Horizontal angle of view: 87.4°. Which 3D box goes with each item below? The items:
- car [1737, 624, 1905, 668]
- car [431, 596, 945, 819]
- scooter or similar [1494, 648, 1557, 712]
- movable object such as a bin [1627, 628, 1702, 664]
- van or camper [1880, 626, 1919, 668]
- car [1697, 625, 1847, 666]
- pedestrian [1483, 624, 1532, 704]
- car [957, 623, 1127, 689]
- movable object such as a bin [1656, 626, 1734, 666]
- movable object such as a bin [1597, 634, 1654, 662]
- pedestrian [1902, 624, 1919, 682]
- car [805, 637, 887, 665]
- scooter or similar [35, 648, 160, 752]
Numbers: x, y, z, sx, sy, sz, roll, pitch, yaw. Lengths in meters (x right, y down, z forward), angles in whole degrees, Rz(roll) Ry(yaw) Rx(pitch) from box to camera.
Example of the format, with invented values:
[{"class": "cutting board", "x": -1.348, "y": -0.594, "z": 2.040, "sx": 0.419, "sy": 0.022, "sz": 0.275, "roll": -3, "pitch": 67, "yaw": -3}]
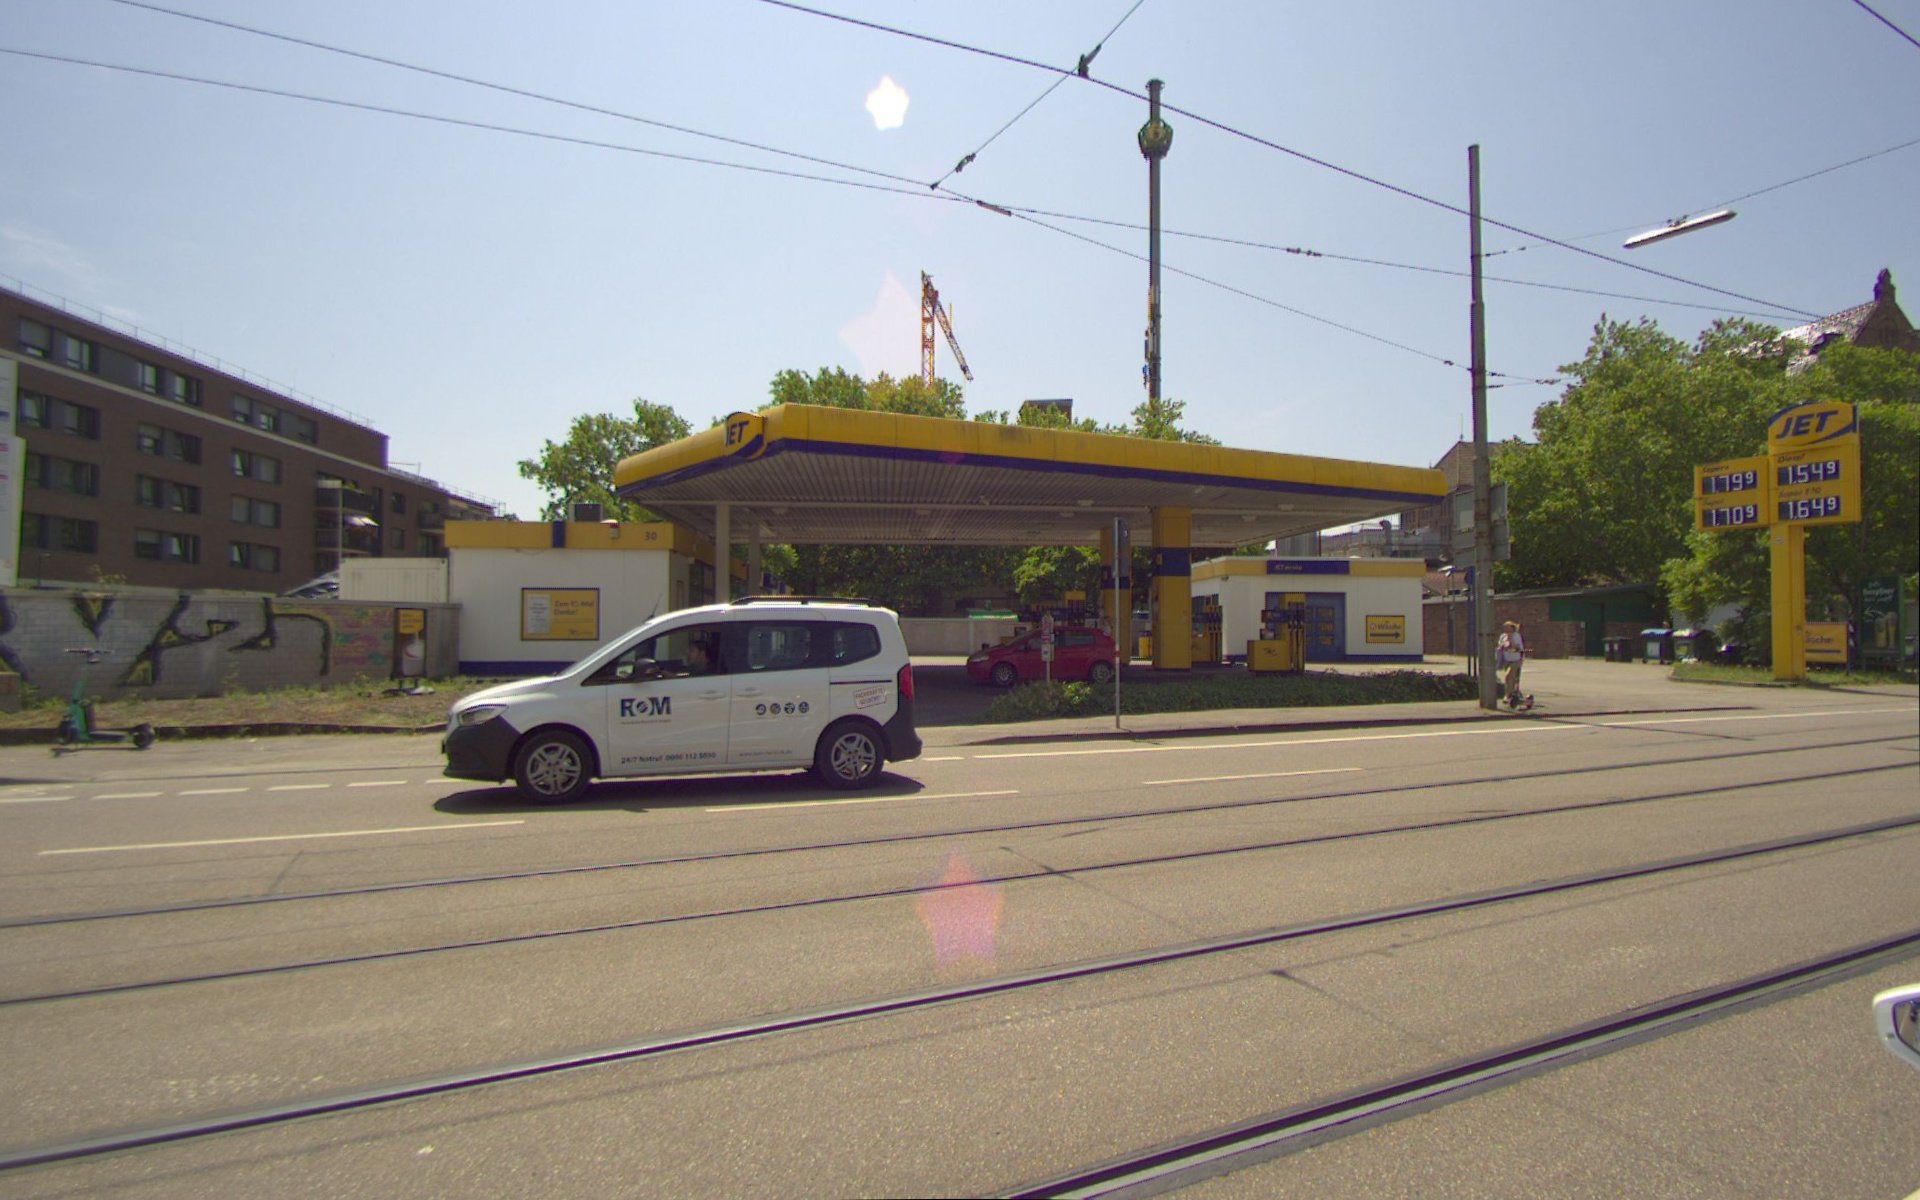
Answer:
[{"class": "car", "x": 31.971, "y": 1.674, "z": 37.444, "sx": 4.361, "sy": 1.508, "sz": 1.936, "roll": 0, "pitch": 0, "yaw": 11}, {"class": "car", "x": -2.585, "y": 0.961, "z": 9.994, "sx": 4.485, "sy": 1.822, "sz": 1.991, "roll": 1, "pitch": -3, "yaw": -21}, {"class": "scooter or similar", "x": 11.418, "y": 1.603, "z": 20.270, "sx": 1.361, "sy": 1.216, "sz": 0.516, "roll": 1, "pitch": 0, "yaw": -32}, {"class": "movable object such as a bin", "x": 29.453, "y": 1.904, "z": 42.030, "sx": 2.059, "sy": 1.451, "sz": 1.525, "roll": 1, "pitch": 0, "yaw": -4}, {"class": "van or camper", "x": 40.445, "y": 1.941, "z": 41.079, "sx": 1.848, "sy": 1.651, "sz": 3.768, "roll": 0, "pitch": 0, "yaw": -28}, {"class": "car", "x": 32.965, "y": 1.824, "z": 40.909, "sx": 4.360, "sy": 1.508, "sz": 1.936, "roll": 0, "pitch": 0, "yaw": 11}, {"class": "pedestrian", "x": 11.918, "y": 1.382, "z": 21.873, "sx": 0.712, "sy": 1.713, "sz": 0.624, "roll": 0, "pitch": -1, "yaw": -22}, {"class": "car", "x": 2.055, "y": 1.399, "z": 25.867, "sx": 4.119, "sy": 1.525, "sz": 1.830, "roll": -1, "pitch": 0, "yaw": -6}, {"class": "movable object such as a bin", "x": 29.527, "y": 1.845, "z": 40.395, "sx": 2.059, "sy": 1.529, "sz": 1.525, "roll": 1, "pitch": 0, "yaw": -4}, {"class": "movable object such as a bin", "x": 29.037, "y": 2.090, "z": 43.836, "sx": 1.534, "sy": 1.153, "sz": 1.408, "roll": 1, "pitch": 0, "yaw": -4}, {"class": "pedestrian", "x": 29.949, "y": 1.652, "z": 31.402, "sx": 0.692, "sy": 1.799, "sz": 0.576, "roll": 1, "pitch": 0, "yaw": -32}, {"class": "car", "x": -5.965, "y": 2.687, "z": 53.002, "sx": 4.158, "sy": 1.428, "sz": 1.720, "roll": 0, "pitch": -1, "yaw": -2}, {"class": "scooter or similar", "x": -10.912, "y": 1.259, "z": 12.720, "sx": 1.218, "sy": 1.281, "sz": 0.345, "roll": 1, "pitch": 0, "yaw": -4}]
